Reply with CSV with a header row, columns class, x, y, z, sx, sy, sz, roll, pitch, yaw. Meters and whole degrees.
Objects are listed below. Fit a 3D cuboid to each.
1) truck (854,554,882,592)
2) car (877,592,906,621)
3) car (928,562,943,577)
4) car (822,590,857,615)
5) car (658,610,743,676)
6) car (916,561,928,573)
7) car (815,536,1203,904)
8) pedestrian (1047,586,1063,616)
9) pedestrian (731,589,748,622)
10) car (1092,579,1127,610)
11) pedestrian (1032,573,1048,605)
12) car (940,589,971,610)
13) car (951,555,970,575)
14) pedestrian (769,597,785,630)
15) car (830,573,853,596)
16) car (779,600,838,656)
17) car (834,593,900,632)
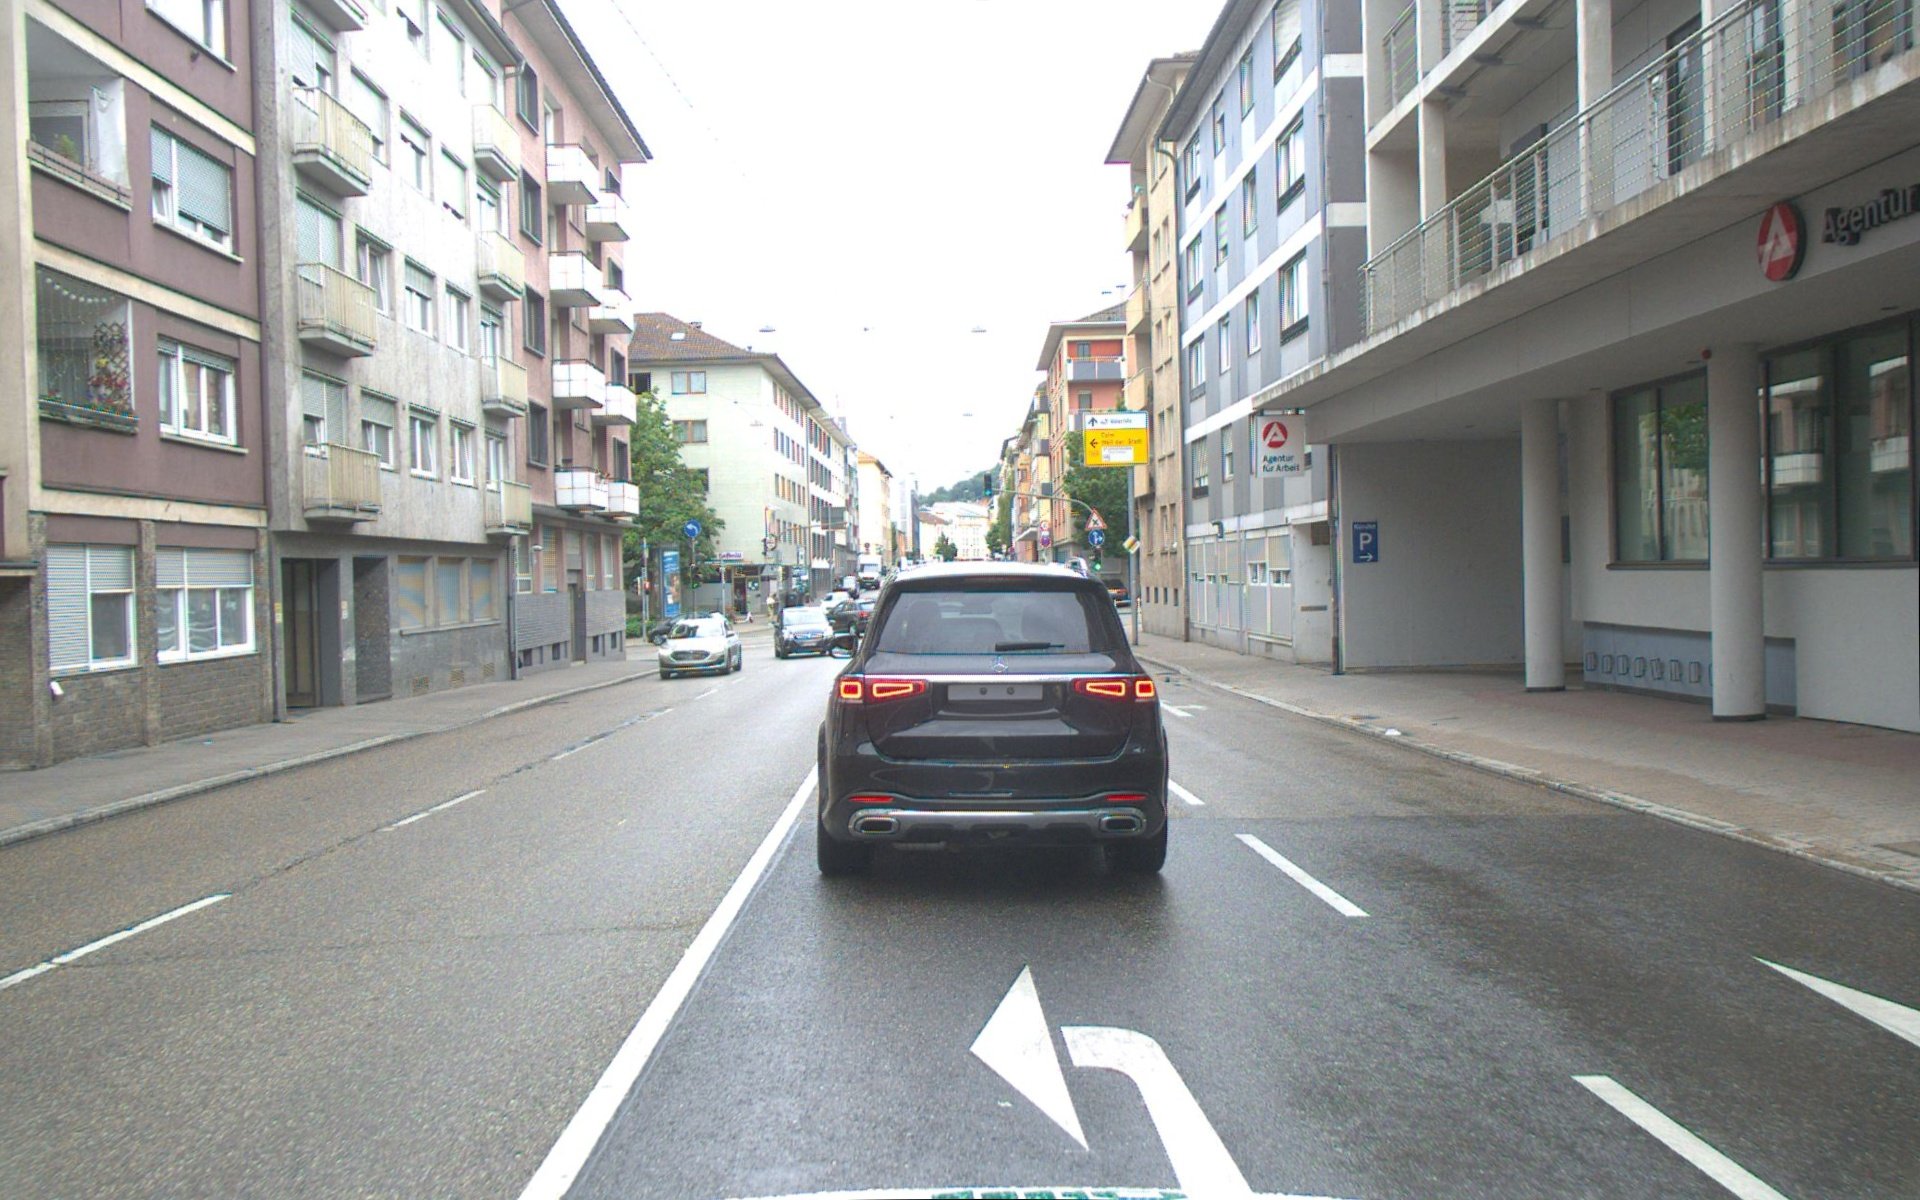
class,x,y,z,sx,sy,sz,roll,pitch,yaw
truck,-8.476,-2.443,152.812,2.430,3.099,9.913,-3,-1,-3
car,-4.048,0.392,97.009,1.586,1.566,4.215,-3,-1,-3
car,-3.020,-3.751,202.289,1.586,1.566,4.215,-3,-1,-3
car,-7.000,0.174,96.368,1.848,1.286,4.215,-3,-1,-3
car,-6.759,1.115,43.395,1.737,1.566,4.355,-3,-1,-4
car,-5.643,-4.925,246.064,1.586,1.566,4.215,-3,-1,-3
car,0.225,0.649,10.668,1.944,1.837,4.388,1,-1,-1
pedestrian,5.776,0.068,100.619,0.904,1.836,0.706,-2,0,-3
pedestrian,-13.001,0.328,97.671,0.904,1.935,0.706,-2,0,-3
car,8.177,-0.286,90.596,1.636,1.616,3.331,-2,0,1
pedestrian,5.234,-0.714,108.172,0.904,2.049,0.706,-2,0,-3
car,-0.344,-0.028,112.278,1.953,1.375,3.999,-2,0,-2
car,0.017,-3.670,173.523,1.689,1.790,4.215,-3,-1,-3
pedestrian,-9.986,0.719,90.274,0.622,1.795,0.773,-2,0,16
car,-9.133,-1.159,127.346,1.586,1.566,4.215,-3,-1,-3
car,-5.085,0.890,55.170,1.739,1.674,4.405,-3,1,-7
car,-4.094,0.568,72.230,1.745,1.566,4.335,-2,-1,-19
